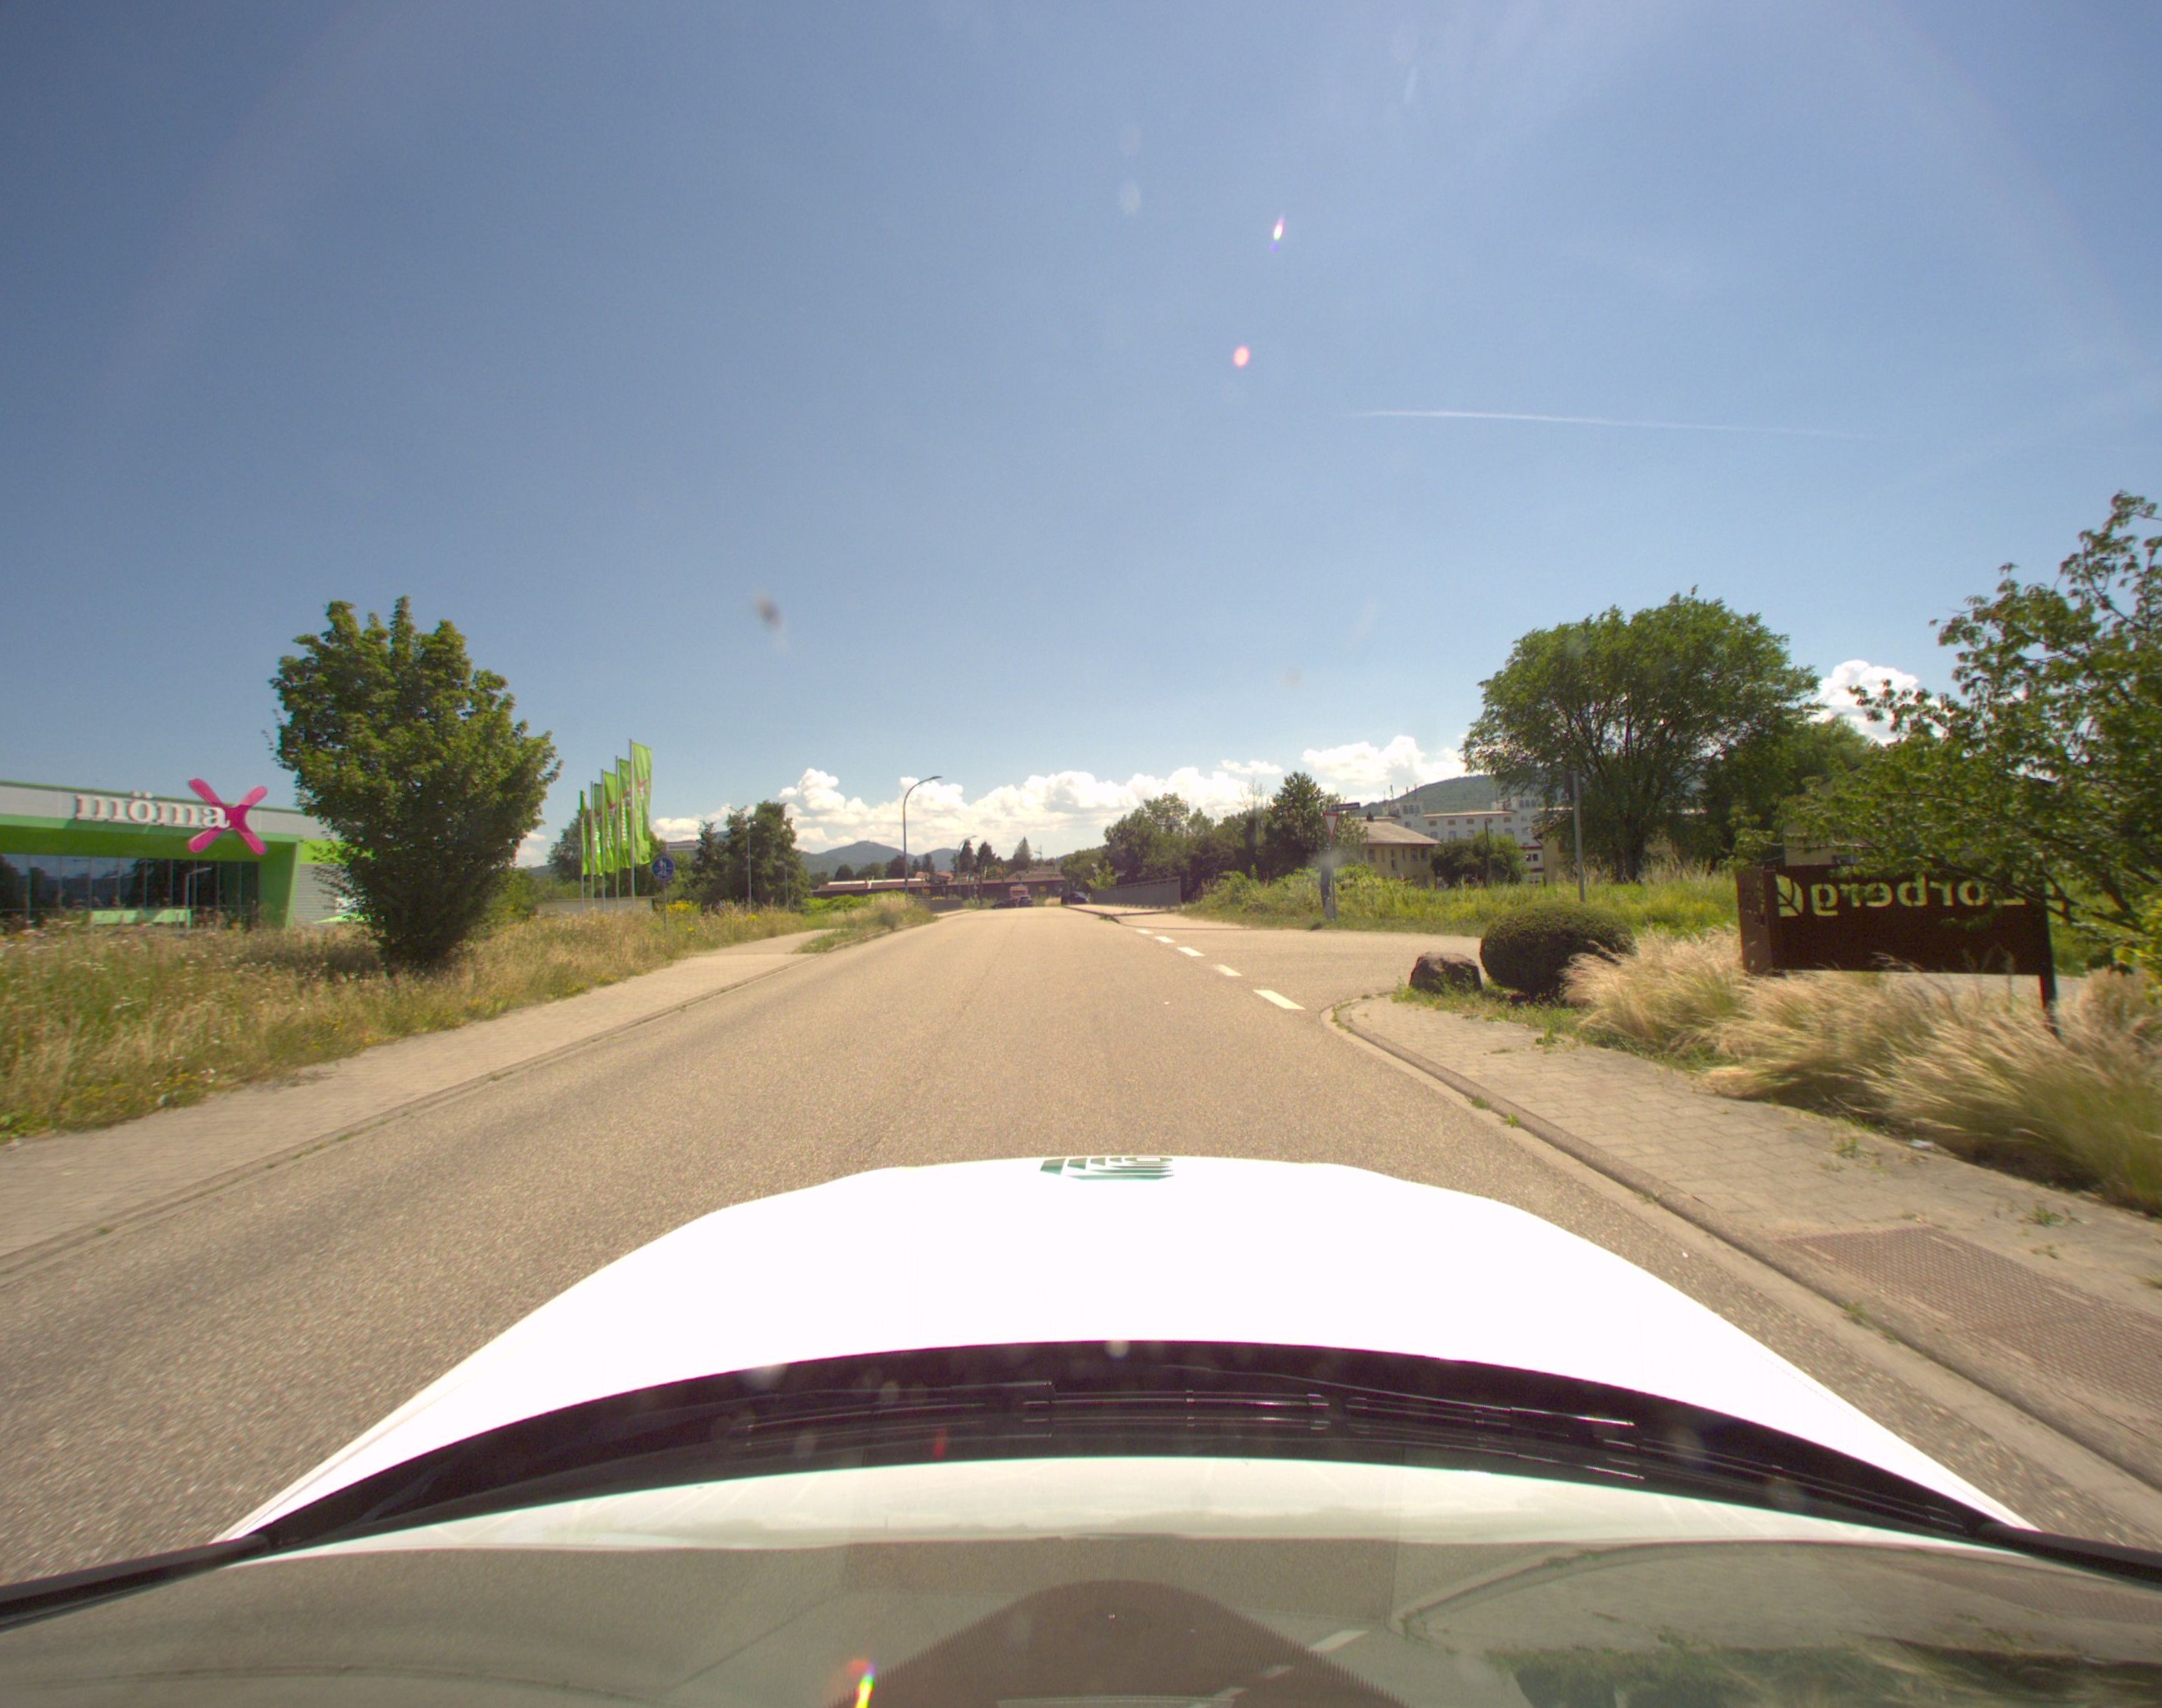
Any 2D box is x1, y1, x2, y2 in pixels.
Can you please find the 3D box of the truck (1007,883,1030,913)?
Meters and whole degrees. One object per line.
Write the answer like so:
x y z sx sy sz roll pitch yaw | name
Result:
-9.507 6.724 122.910 2.992 4.181 11.778 -1 -4 -6 | truck

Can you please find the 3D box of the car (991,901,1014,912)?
-14.451 9.691 150.158 3.985 1.702 1.902 -2 -1 -9 | car

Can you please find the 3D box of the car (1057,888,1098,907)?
-0.350 4.212 78.522 1.898 1.634 3.724 -1 -2 -44 | car

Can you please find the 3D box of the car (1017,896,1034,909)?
-6.683 5.824 98.042 1.991 1.503 3.991 -1 -3 -6 | car
